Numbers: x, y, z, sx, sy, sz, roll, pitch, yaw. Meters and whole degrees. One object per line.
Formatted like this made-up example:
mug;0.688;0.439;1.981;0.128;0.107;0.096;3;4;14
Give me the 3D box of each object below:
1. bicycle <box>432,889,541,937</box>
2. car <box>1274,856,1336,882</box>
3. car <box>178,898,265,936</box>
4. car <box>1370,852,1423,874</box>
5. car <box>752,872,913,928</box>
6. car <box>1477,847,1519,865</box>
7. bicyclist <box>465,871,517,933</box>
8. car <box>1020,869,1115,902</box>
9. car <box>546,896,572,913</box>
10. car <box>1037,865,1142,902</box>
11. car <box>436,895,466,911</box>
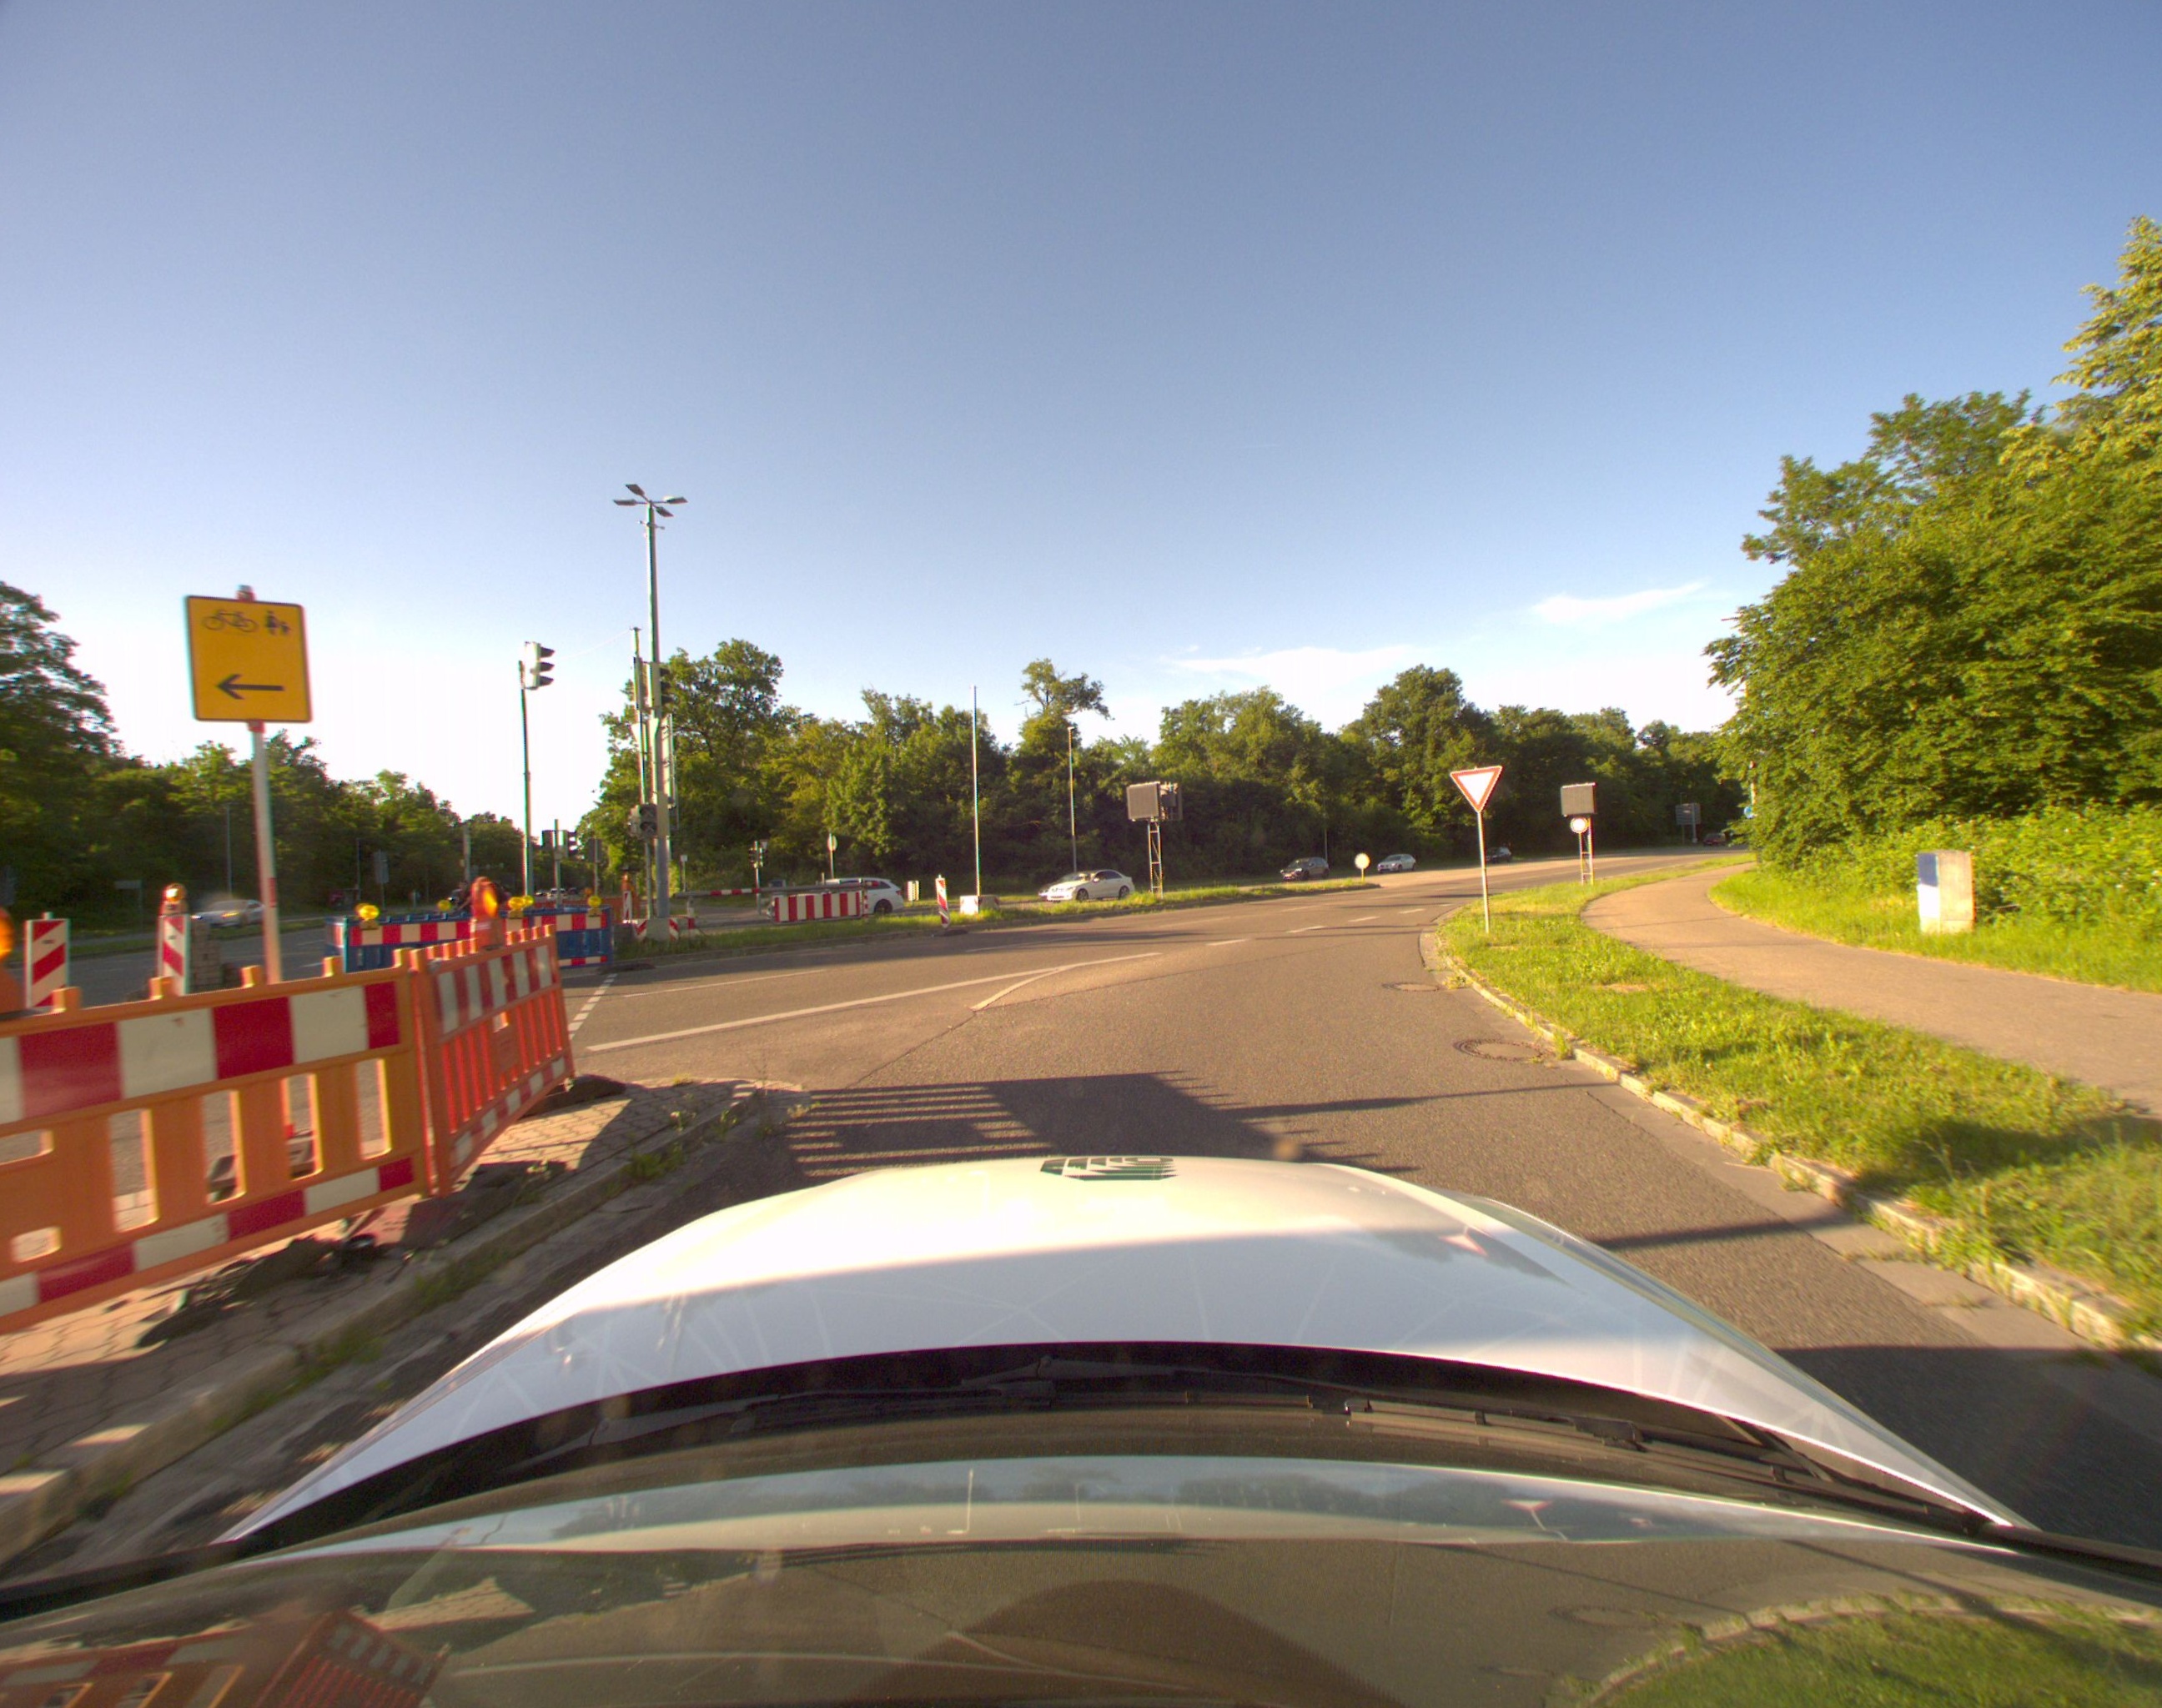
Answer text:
bicycle;-18.954;1.852;26.049;0.956;1.383;2.655;-2;-1;27
car;15.474;1.016;56.126;4.677;1.529;1.975;-2;-1;-43
car;-46.842;3.387;44.507;2.005;1.789;4.210;-2;-1;-28
car;25.520;0.702;65.769;4.676;1.529;1.976;-2;-1;-41
car;-8.362;1.497;27.744;1.974;1.580;4.863;-3;-1;42
car;40.185;0.186;78.433;4.676;1.529;1.976;-2;-1;-41
bicyclist;-18.924;1.535;26.131;0.956;1.930;1.022;-2;-2;26
car;-0.631;1.584;41.364;4.677;1.384;1.975;-2;-1;-43
car;-50.936;4.893;79.503;1.953;1.414;3.961;-2;-1;-30
car;0.454;1.326;36.940;1.975;1.436;4.837;-3;-1;43
car;-72.812;5.638;94.160;2.005;1.654;4.210;-2;-1;-28
